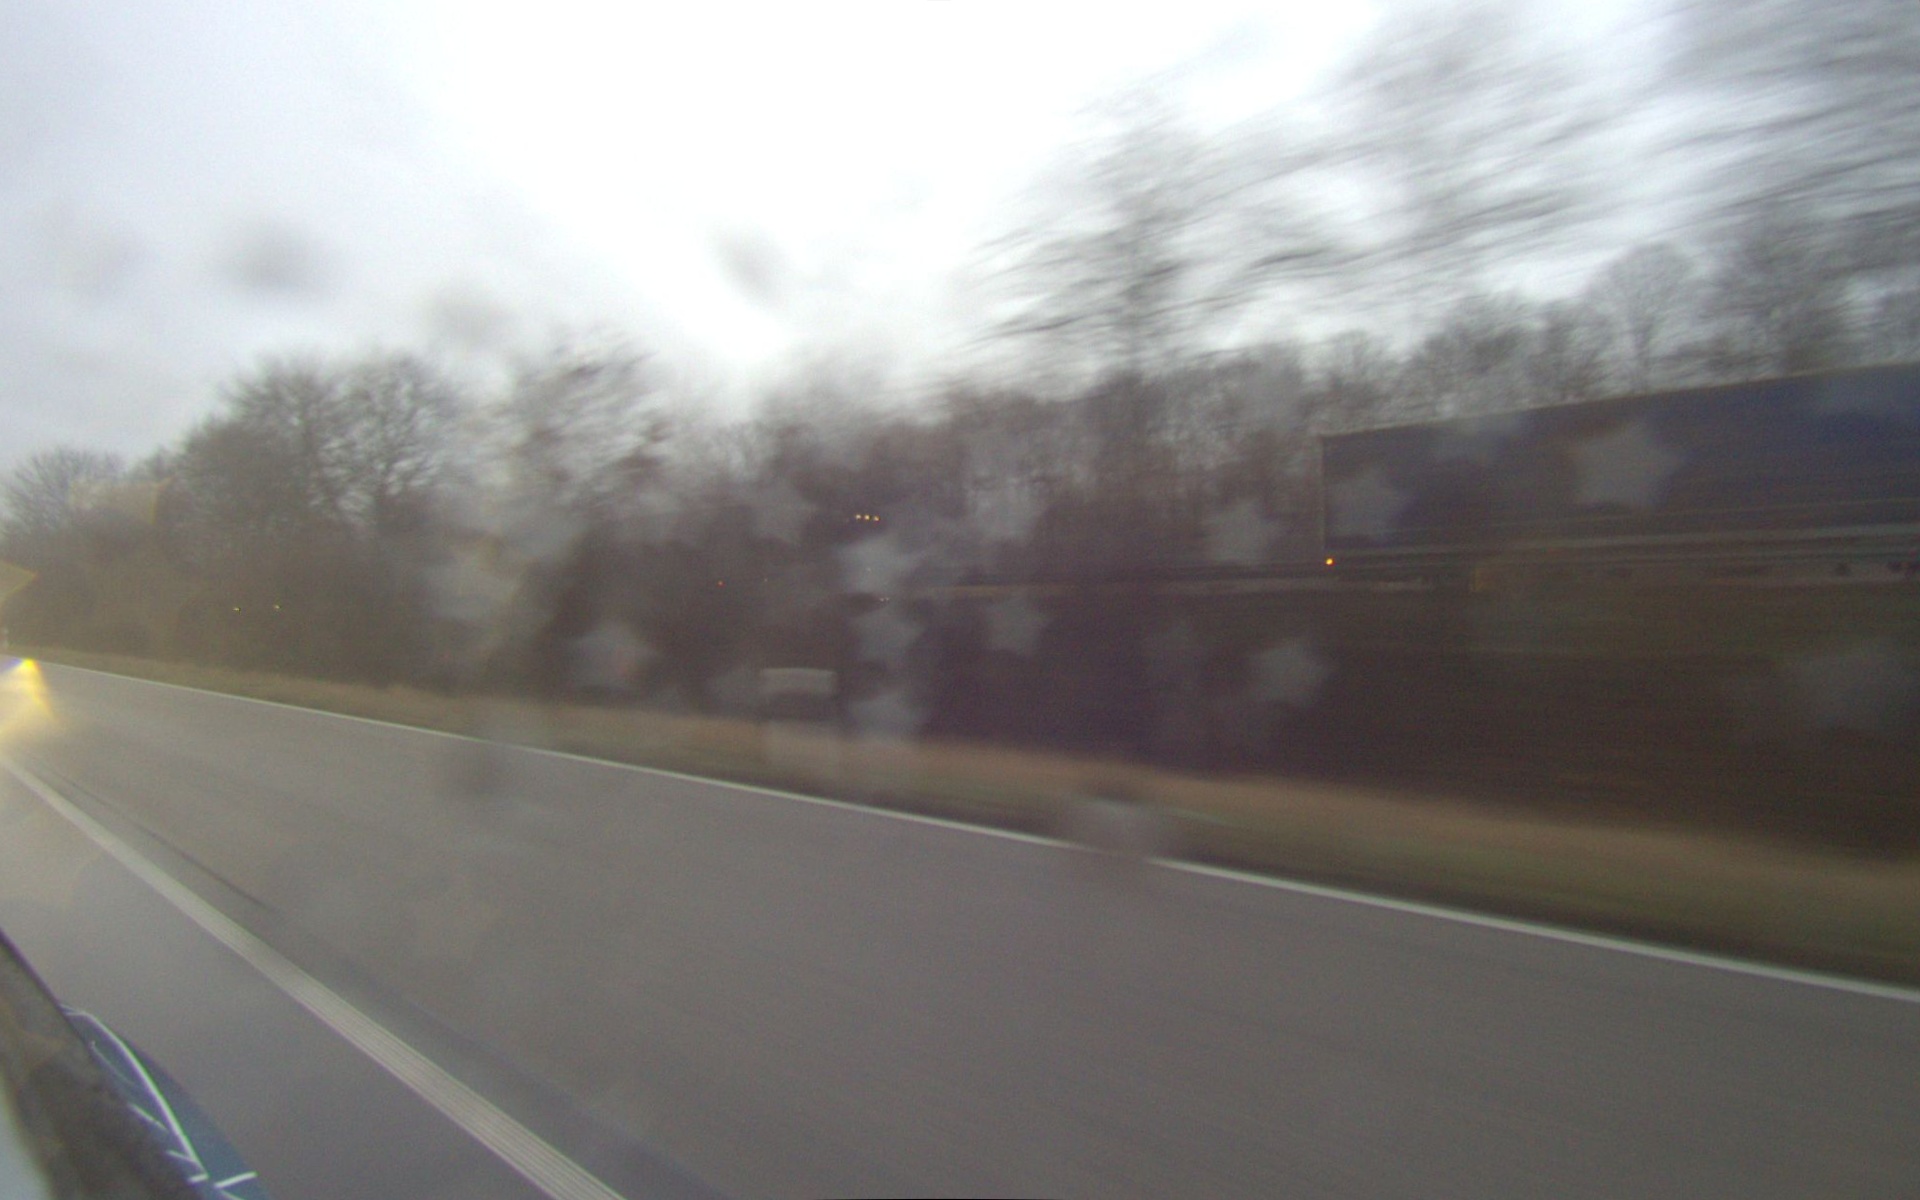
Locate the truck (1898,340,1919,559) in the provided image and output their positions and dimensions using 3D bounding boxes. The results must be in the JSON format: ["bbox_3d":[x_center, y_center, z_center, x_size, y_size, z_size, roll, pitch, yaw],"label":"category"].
[{"bbox_3d":[19.732,-2.734,16.665,6.064,3.660,2.961,-2,-2,41],"label":"truck"}]

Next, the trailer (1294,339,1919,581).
[{"bbox_3d":[13.467,-2.510,22.224,11.382,3.661,2.967,-2,-2,42],"label":"trailer"}]
